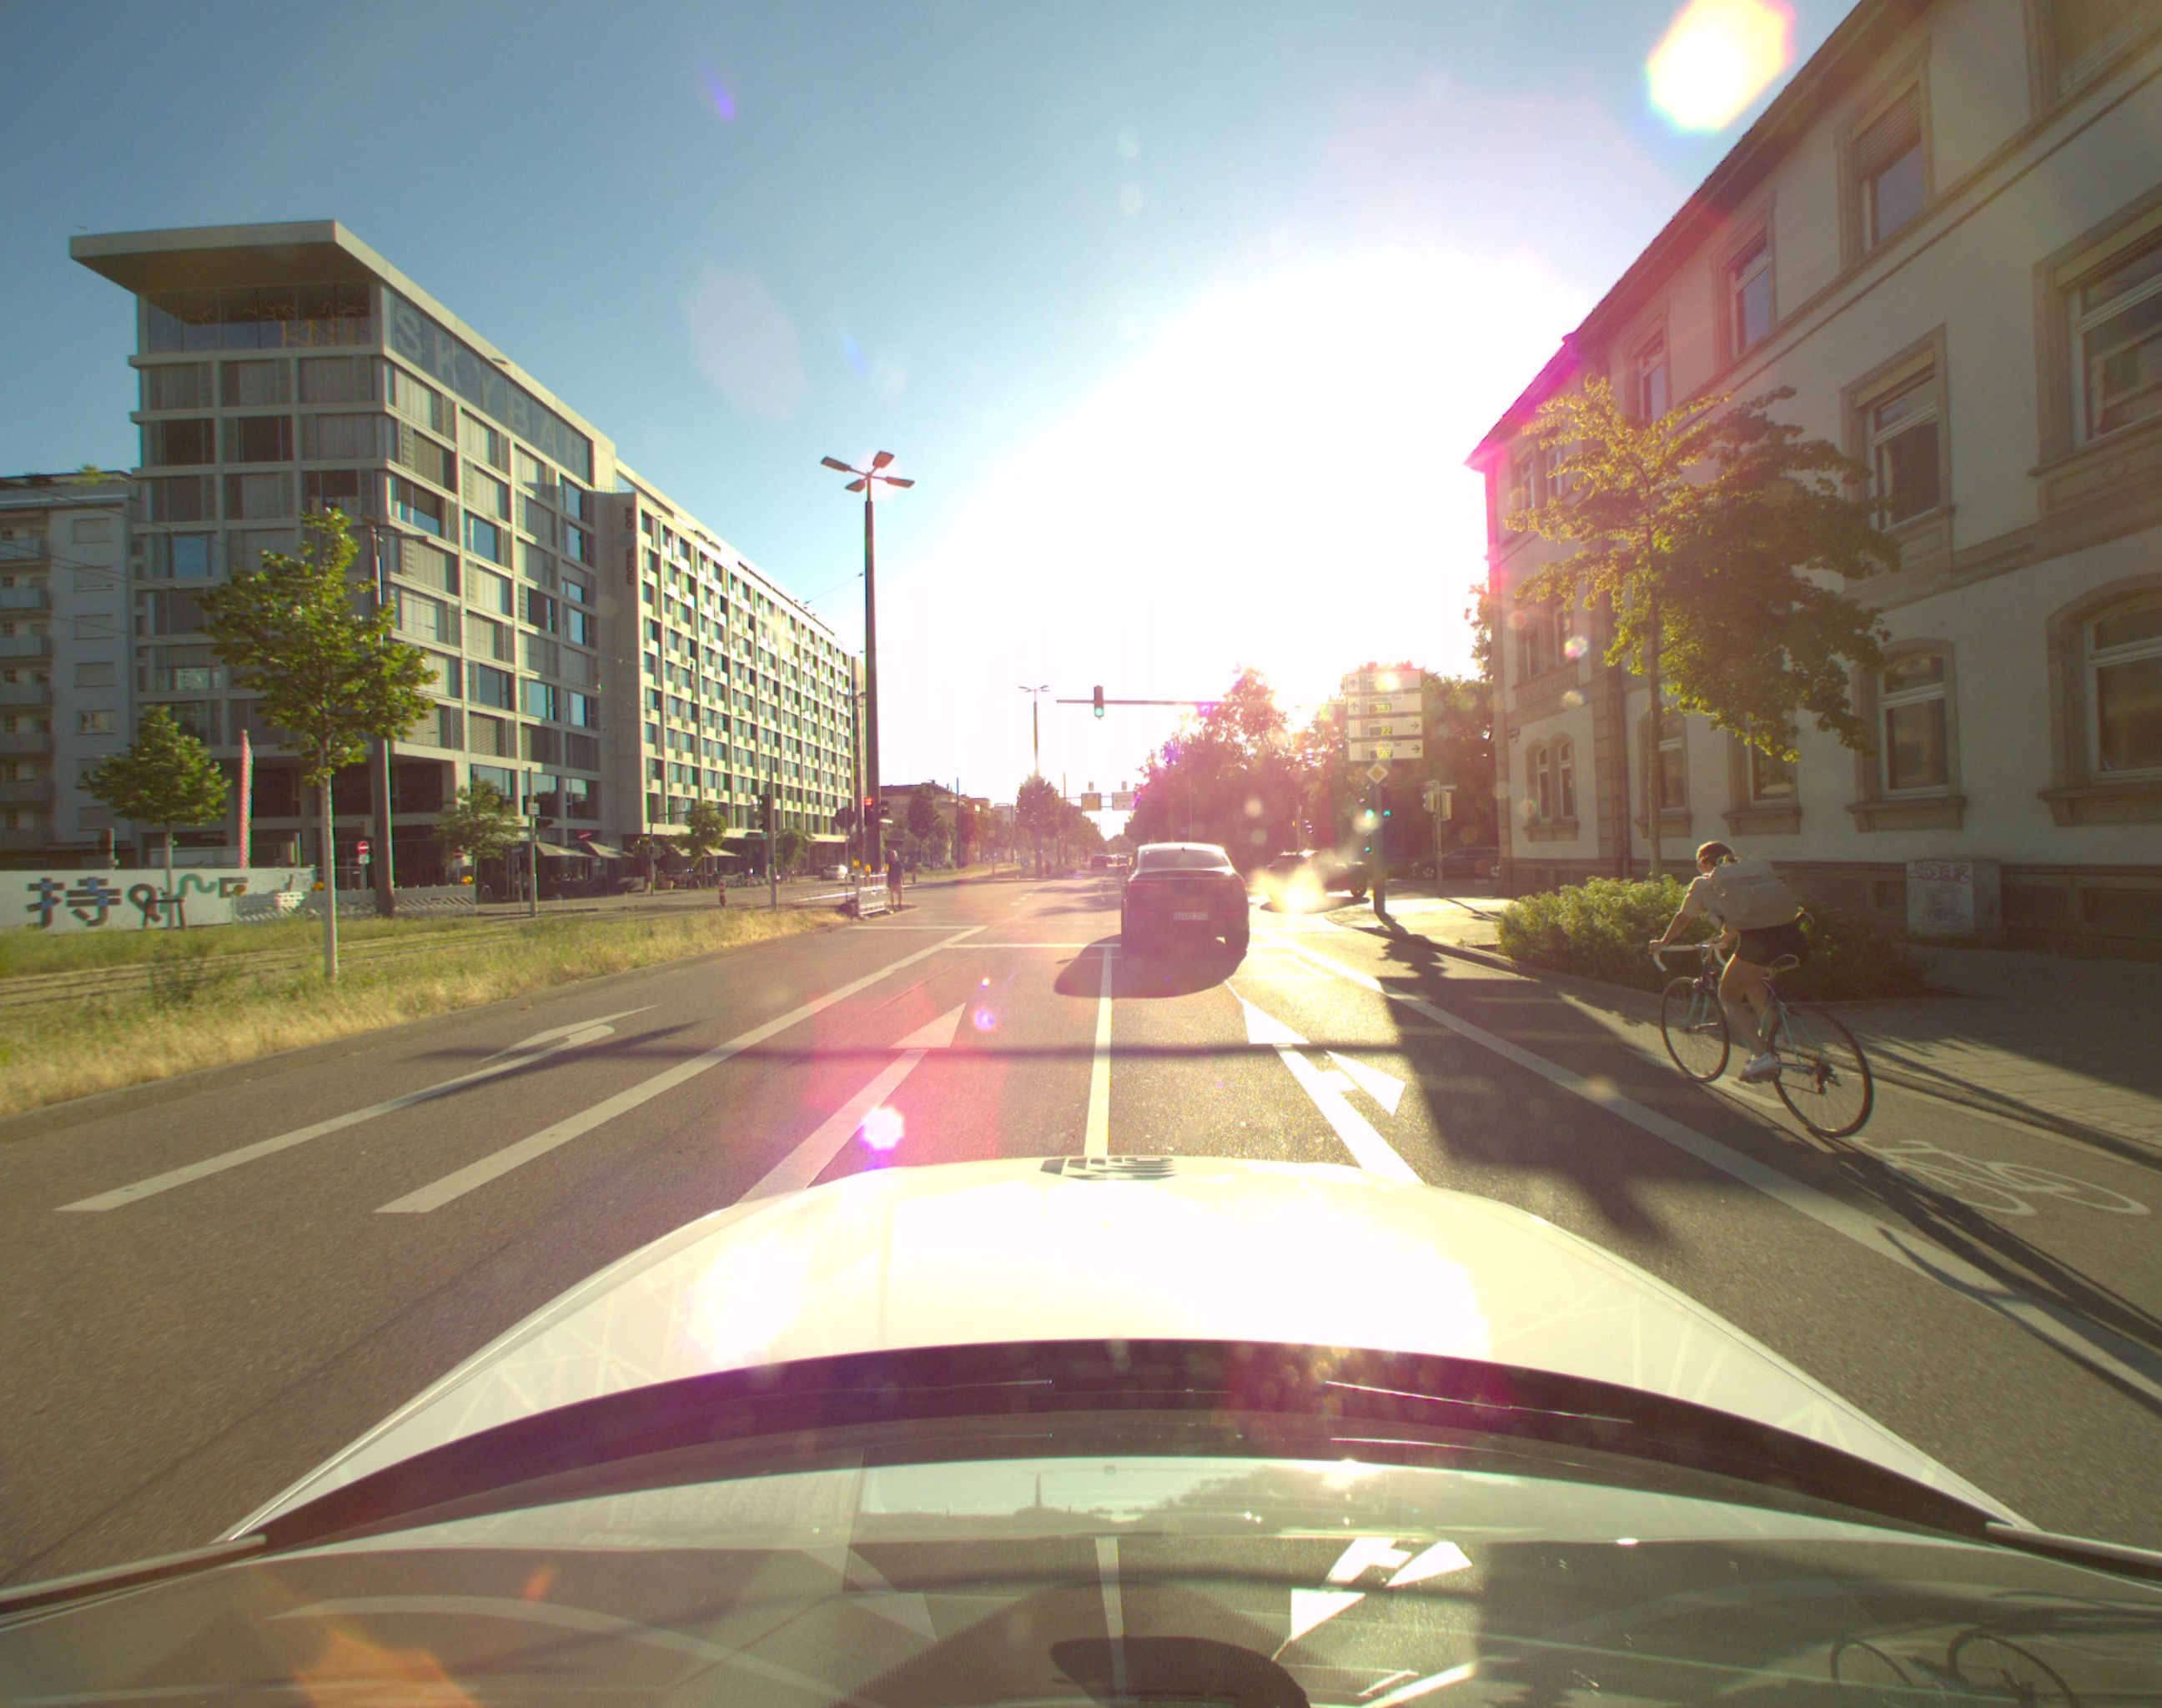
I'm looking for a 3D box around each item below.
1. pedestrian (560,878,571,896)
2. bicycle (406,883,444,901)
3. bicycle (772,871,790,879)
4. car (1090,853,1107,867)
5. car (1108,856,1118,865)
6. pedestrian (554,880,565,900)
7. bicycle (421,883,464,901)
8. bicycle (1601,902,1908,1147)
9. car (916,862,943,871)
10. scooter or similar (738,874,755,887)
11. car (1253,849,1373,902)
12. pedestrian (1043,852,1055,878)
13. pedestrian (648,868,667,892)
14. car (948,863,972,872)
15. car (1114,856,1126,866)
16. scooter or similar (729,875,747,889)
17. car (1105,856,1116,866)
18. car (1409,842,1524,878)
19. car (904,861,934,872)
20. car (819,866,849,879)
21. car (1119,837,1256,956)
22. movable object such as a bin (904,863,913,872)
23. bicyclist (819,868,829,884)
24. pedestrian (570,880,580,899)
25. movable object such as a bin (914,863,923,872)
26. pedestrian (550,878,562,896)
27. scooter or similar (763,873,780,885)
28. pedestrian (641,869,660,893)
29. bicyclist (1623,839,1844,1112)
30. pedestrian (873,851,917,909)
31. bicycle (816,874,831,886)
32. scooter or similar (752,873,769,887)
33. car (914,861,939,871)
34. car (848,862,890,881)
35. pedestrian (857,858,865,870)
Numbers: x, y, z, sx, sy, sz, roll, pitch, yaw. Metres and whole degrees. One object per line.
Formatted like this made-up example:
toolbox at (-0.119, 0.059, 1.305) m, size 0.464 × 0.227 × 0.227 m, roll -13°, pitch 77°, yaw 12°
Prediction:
pedestrian at (-36.067, 2.297, 56.965) m, size 0.430 × 1.222 × 0.498 m, roll -2°, pitch 0°, yaw 3°
bicycle at (-37.626, 2.165, 46.724) m, size 0.533 × 0.936 × 1.902 m, roll -2°, pitch 0°, yaw 2°
bicycle at (-33.742, 2.353, 91.503) m, size 1.800 × 0.905 × 0.511 m, roll -2°, pitch 0°, yaw -4°
car at (2.046, 0.703, 94.655) m, size 1.878 × 1.580 × 4.002 m, roll -1°, pitch 0°, yaw 2°
car at (6.108, 1.182, 155.368) m, size 1.878 × 1.580 × 4.002 m, roll -1°, pitch 0°, yaw 2°
pedestrian at (-32.604, 2.262, 50.946) m, size 0.362 × 1.194 × 0.433 m, roll -2°, pitch 0°, yaw 0°
bicycle at (-36.678, 2.160, 46.809) m, size 0.616 × 0.936 × 2.218 m, roll -2°, pitch 0°, yaw 2°
bicycle at (3.963, 0.915, 5.008) m, size 0.518 × 1.097 × 1.846 m, roll -2°, pitch 0°, yaw 7°
car at (-24.687, 2.028, 132.868) m, size 1.764 × 1.453 × 4.023 m, roll 0°, pitch 0°, yaw 45°
scooter or similar at (-27.576, 2.224, 67.162) m, size 1.238 × 1.019 × 0.435 m, roll -2°, pitch 0°, yaw 3°
car at (7.494, 0.638, 26.092) m, size 4.082 × 1.527 × 1.880 m, roll -1°, pitch 0°, yaw -44°
pedestrian at (-2.139, 0.731, 54.444) m, size 0.595 × 1.699 × 0.716 m, roll -2°, pitch 0°, yaw 8°
pedestrian at (-31.382, 1.947, 60.345) m, size 0.863 × 1.721 × 0.806 m, roll -2°, pitch 0°, yaw 12°
car at (-22.989, 2.556, 154.748) m, size 4.020 × 1.563 × 1.977 m, roll 0°, pitch 0°, yaw -39°
car at (6.314, 1.075, 131.126) m, size 1.878 × 1.580 × 4.002 m, roll -1°, pitch 0°, yaw 2°
scooter or similar at (-27.631, 2.261, 65.635) m, size 1.238 × 1.019 × 0.511 m, roll -2°, pitch 0°, yaw 3°
car at (5.012, 1.168, 139.641) m, size 1.878 × 1.580 × 4.002 m, roll -1°, pitch 0°, yaw 2°
car at (17.390, 0.286, 36.798) m, size 4.544 × 1.474 × 1.914 m, roll -2°, pitch -1°, yaw 27°
car at (-25.079, 1.929, 126.075) m, size 4.115 × 1.601 × 1.730 m, roll 1°, pitch 0°, yaw -38°
car at (-26.344, 1.964, 86.938) m, size 1.749 × 1.328 × 4.003 m, roll 0°, pitch 0°, yaw 3°
car at (1.688, 0.611, 13.985) m, size 1.985 × 1.734 × 4.004 m, roll -1°, pitch 0°, yaw 4°
movable object such as a bin at (-25.595, 2.005, 120.902) m, size 0.851 × 1.358 × 0.944 m, roll -2°, pitch 0°, yaw 17°
bicyclist at (-24.538, 2.079, 77.764) m, size 0.622 × 1.465 × 0.852 m, roll -2°, pitch 0°, yaw 3°
pedestrian at (-32.191, 2.261, 51.813) m, size 0.362 × 1.194 × 0.433 m, roll -2°, pitch 0°, yaw 0°
movable object such as a bin at (-24.198, 1.998, 121.168) m, size 0.851 × 1.280 × 0.944 m, roll -2°, pitch 0°, yaw 17°
pedestrian at (-36.161, 2.296, 56.074) m, size 0.430 × 1.222 × 0.498 m, roll -2°, pitch 0°, yaw 3°
scooter or similar at (-27.255, 2.227, 71.701) m, size 1.238 × 1.019 × 0.435 m, roll -2°, pitch 0°, yaw 3°
pedestrian at (-31.502, 1.947, 59.555) m, size 0.863 × 1.721 × 0.806 m, roll -2°, pitch 0°, yaw 12°
bicyclist at (3.935, 0.666, 5.007) m, size 0.549 × 1.491 × 1.083 m, roll -2°, pitch 0°, yaw 7°
pedestrian at (-5.416, 0.739, 23.743) m, size 0.917 × 1.649 × 0.769 m, roll -2°, pitch -1°, yaw 18°
bicycle at (-24.535, 2.483, 77.743) m, size 0.622 × 1.067 × 2.080 m, roll -2°, pitch 0°, yaw 4°
scooter or similar at (-27.259, 2.193, 69.176) m, size 1.238 × 1.172 × 0.406 m, roll -2°, pitch 0°, yaw 3°
car at (-24.653, 1.955, 130.009) m, size 3.643 × 1.523 × 1.602 m, roll 1°, pitch -1°, yaw -38°
car at (-17.015, 1.395, 65.511) m, size 1.883 × 1.343 × 4.853 m, roll -2°, pitch 0°, yaw 2°
pedestrian at (-30.233, 1.340, 111.942) m, size 0.839 × 1.653 × 0.971 m, roll -2°, pitch 0°, yaw 4°
